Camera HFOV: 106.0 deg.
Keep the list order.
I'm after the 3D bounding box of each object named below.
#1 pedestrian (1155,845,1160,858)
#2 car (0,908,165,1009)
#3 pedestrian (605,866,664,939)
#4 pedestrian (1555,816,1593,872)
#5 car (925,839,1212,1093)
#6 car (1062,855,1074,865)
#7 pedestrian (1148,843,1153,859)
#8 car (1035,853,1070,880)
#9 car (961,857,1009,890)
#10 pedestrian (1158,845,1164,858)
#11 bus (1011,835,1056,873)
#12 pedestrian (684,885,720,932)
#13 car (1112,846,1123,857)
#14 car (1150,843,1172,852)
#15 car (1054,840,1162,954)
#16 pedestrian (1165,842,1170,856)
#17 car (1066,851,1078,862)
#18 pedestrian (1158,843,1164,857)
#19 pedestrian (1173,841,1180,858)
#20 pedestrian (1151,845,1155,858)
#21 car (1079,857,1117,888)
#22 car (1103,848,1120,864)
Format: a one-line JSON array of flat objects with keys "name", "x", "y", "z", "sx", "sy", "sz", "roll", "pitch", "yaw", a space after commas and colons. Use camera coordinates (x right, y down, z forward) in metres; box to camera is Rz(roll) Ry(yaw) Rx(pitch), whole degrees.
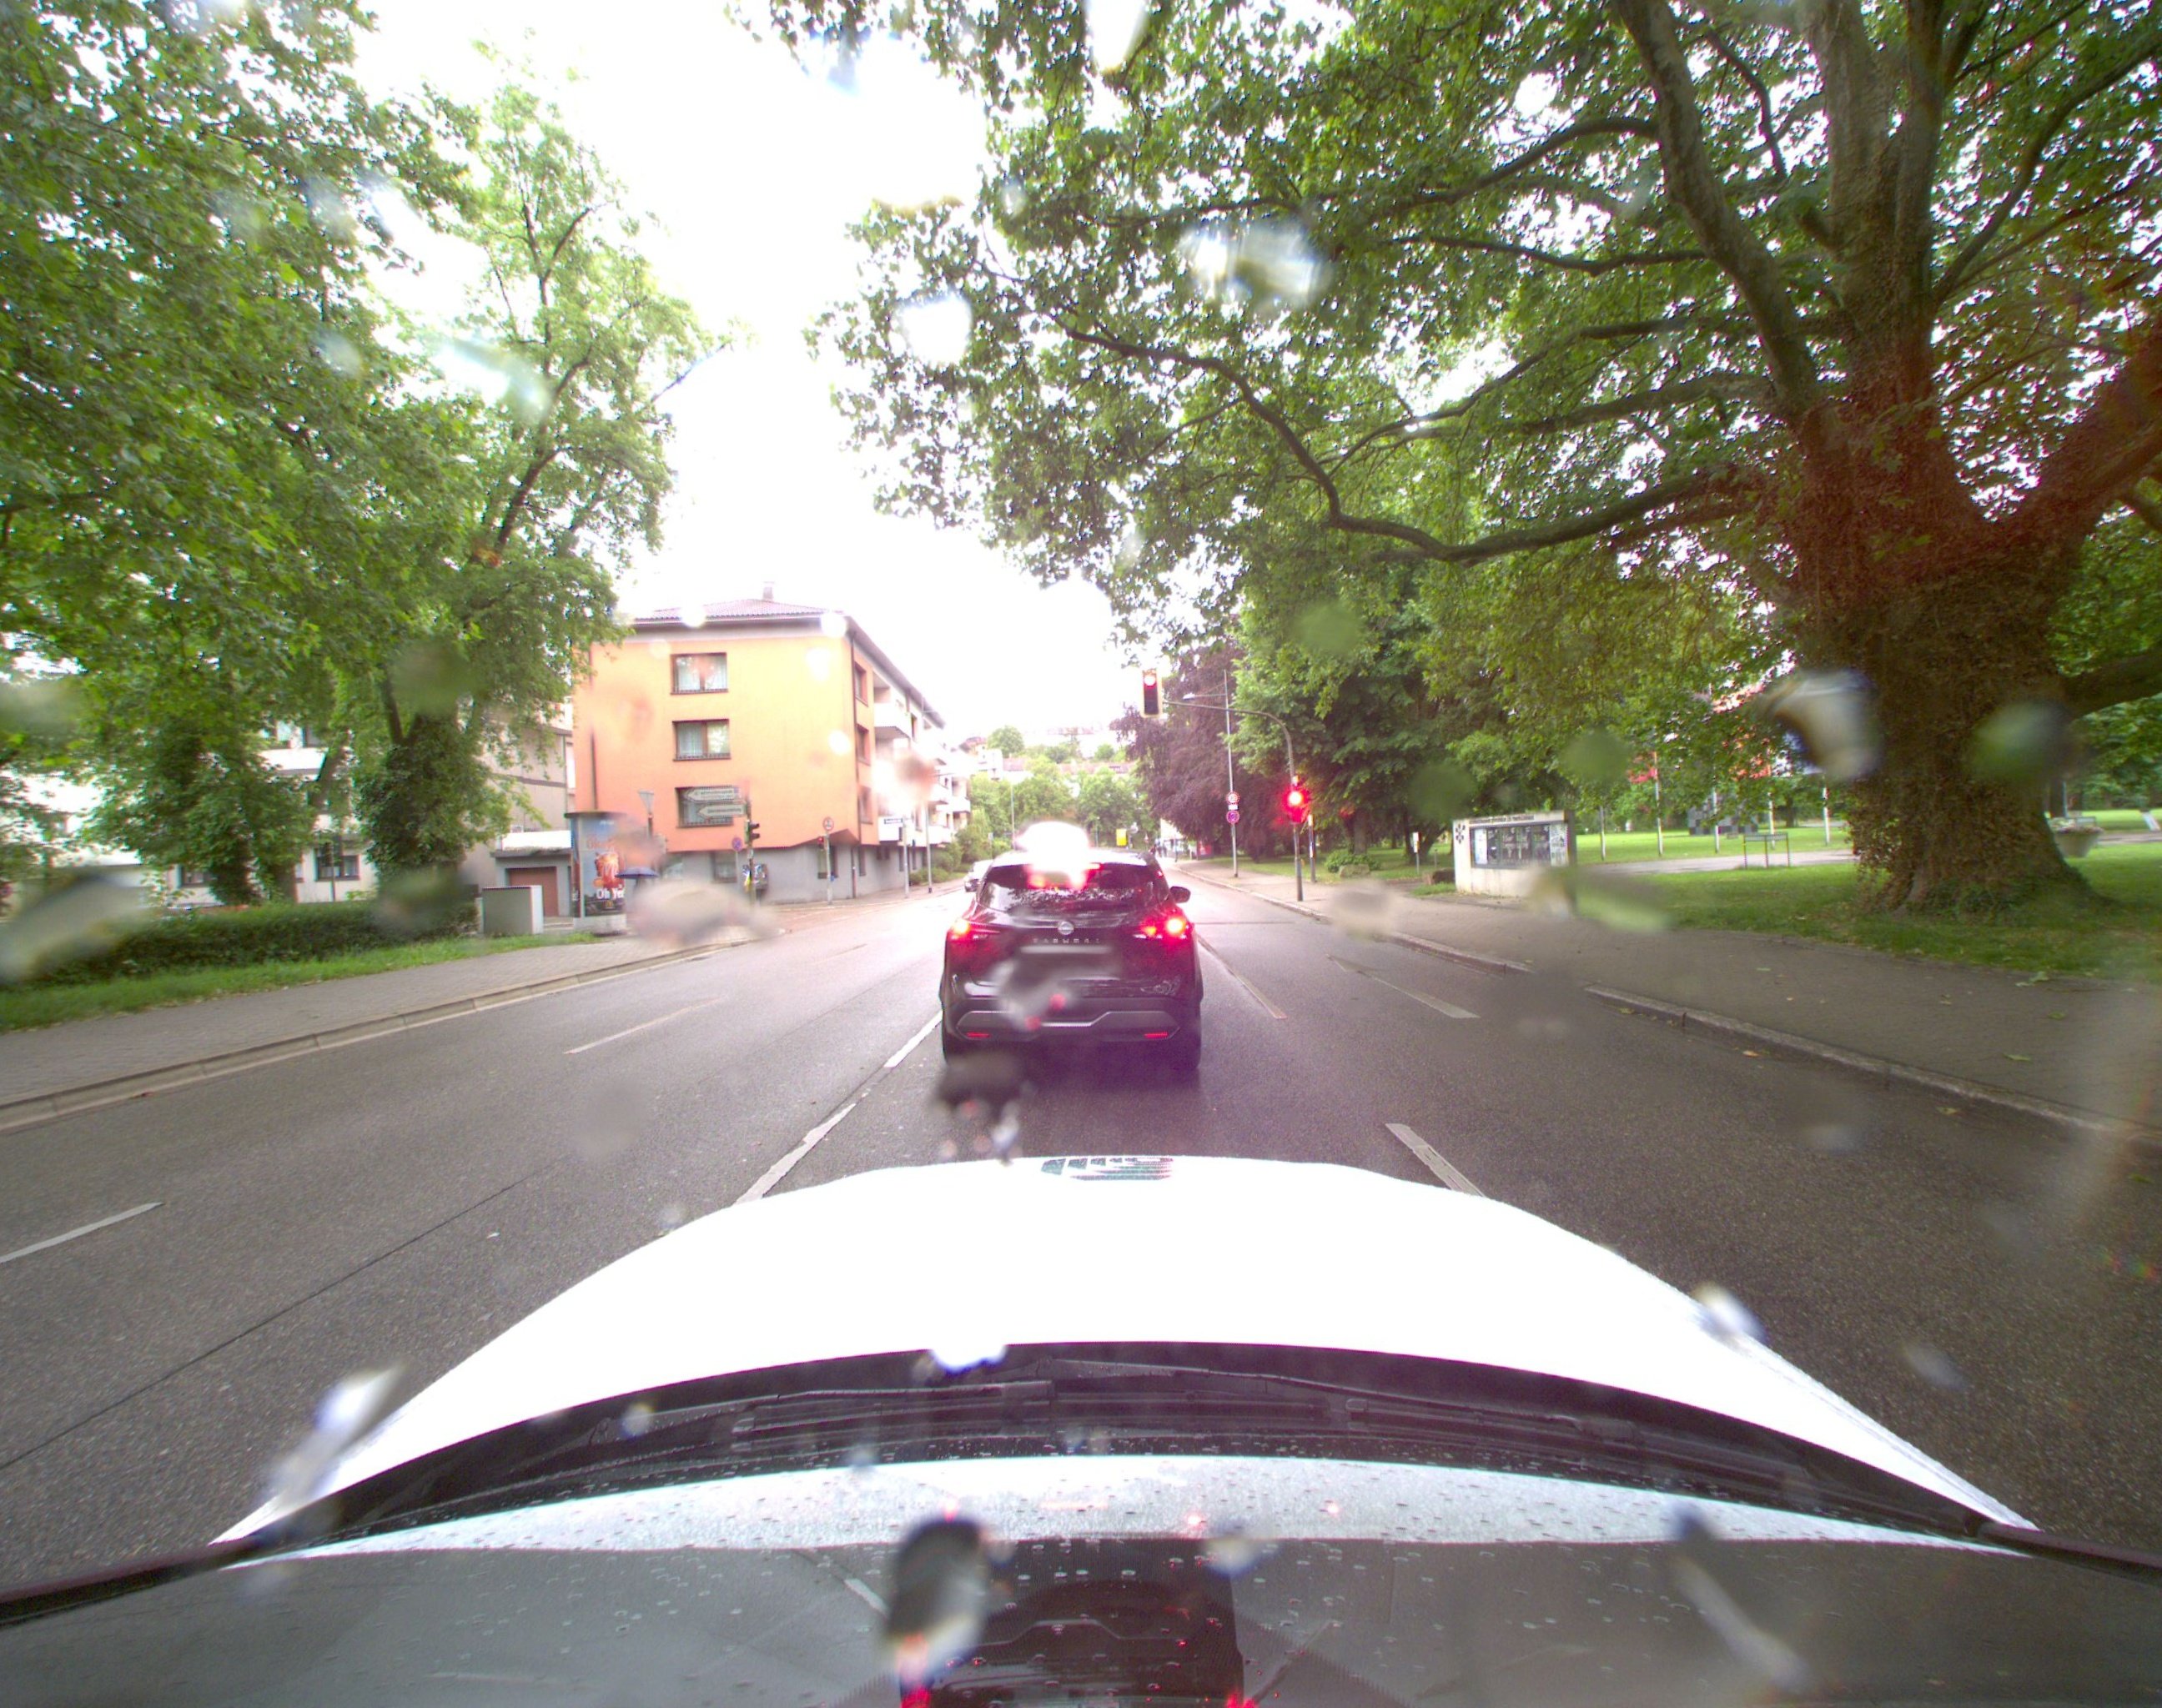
[{"name": "pedestrian", "x": 9.654, "y": -0.339, "z": 102.511, "sx": 0.513, "sy": 1.655, "sz": 0.550, "roll": 0, "pitch": -1, "yaw": 1}, {"name": "car", "x": -18.005, "y": 1.735, "z": 13.804, "sx": 3.182, "sy": 1.524, "sz": 1.507, "roll": 0, "pitch": -1, "yaw": -1}, {"name": "pedestrian", "x": -11.207, "y": 1.183, "z": 20.489, "sx": 0.993, "sy": 1.742, "sz": 1.204, "roll": -1, "pitch": 0, "yaw": -13}, {"name": "pedestrian", "x": 15.205, "y": -0.309, "z": 25.127, "sx": 0.663, "sy": 1.712, "sz": 0.788, "roll": 0, "pitch": -1, "yaw": -7}, {"name": "car", "x": -0.019, "y": 0.722, "z": 7.127, "sx": 1.799, "sy": 1.590, "sz": 4.001, "roll": 0, "pitch": -1, "yaw": 2}, {"name": "car", "x": -2.021, "y": 0.921, "z": 126.822, "sx": 1.671, "sy": 1.469, "sz": 4.217, "roll": -4, "pitch": 0, "yaw": 1}, {"name": "pedestrian", "x": 9.796, "y": -0.460, "z": 114.627, "sx": 0.764, "sy": 2.183, "sz": 0.712, "roll": 0, "pitch": -1, "yaw": 5}, {"name": "car", "x": -1.591, "y": 0.681, "z": 46.557, "sx": 1.618, "sy": 1.415, "sz": 3.456, "roll": -3, "pitch": 0, "yaw": 2}, {"name": "car", "x": -4.785, "y": 0.966, "z": 41.193, "sx": 1.802, "sy": 1.417, "sz": 4.031, "roll": -4, "pitch": 0, "yaw": 1}, {"name": "pedestrian", "x": 10.184, "y": -0.332, "z": 104.042, "sx": 0.696, "sy": 1.651, "sz": 0.628, "roll": 0, "pitch": -1, "yaw": 2}, {"name": "bus", "x": -4.027, "y": -0.001, "z": 71.416, "sx": 2.756, "sy": 2.974, "sz": 11.786, "roll": -3, "pitch": 0, "yaw": 2}, {"name": "pedestrian", "x": -10.159, "y": 1.452, "z": 21.860, "sx": 0.685, "sy": 1.175, "sz": 0.823, "roll": -1, "pitch": 0, "yaw": -12}, {"name": "car", "x": 6.171, "y": -0.437, "z": 136.427, "sx": 1.743, "sy": 1.633, "sz": 3.636, "roll": -3, "pitch": 0, "yaw": 2}, {"name": "car", "x": 16.198, "y": -1.332, "z": 164.017, "sx": 3.986, "sy": 1.684, "sz": 1.994, "roll": -3, "pitch": 0, "yaw": -9}, {"name": "car", "x": 0.543, "y": 0.675, "z": 14.774, "sx": 1.615, "sy": 1.709, "sz": 3.774, "roll": -3, "pitch": 0, "yaw": 3}, {"name": "pedestrian", "x": 11.465, "y": -0.642, "z": 107.807, "sx": 0.616, "sy": 1.779, "sz": 0.551, "roll": -3, "pitch": 0, "yaw": 1}, {"name": "car", "x": -1.431, "y": 0.423, "z": 137.514, "sx": 1.743, "sy": 1.633, "sz": 3.636, "roll": -3, "pitch": 0, "yaw": 2}, {"name": "pedestrian", "x": 10.601, "y": -0.568, "z": 107.544, "sx": 0.616, "sy": 1.779, "sz": 0.551, "roll": -3, "pitch": 0, "yaw": 1}, {"name": "pedestrian", "x": 10.547, "y": -0.505, "z": 89.609, "sx": 0.616, "sy": 1.779, "sz": 0.779, "roll": -3, "pitch": 0, "yaw": 1}, {"name": "pedestrian", "x": 9.199, "y": -0.299, "z": 103.774, "sx": 0.542, "sy": 1.651, "sz": 0.490, "roll": 0, "pitch": -1, "yaw": 2}, {"name": "car", "x": 0.861, "y": 0.916, "z": 41.213, "sx": 1.802, "sy": 1.417, "sz": 4.031, "roll": -2, "pitch": 0, "yaw": 1}, {"name": "car", "x": 3.164, "y": 0.193, "z": 83.269, "sx": 1.618, "sy": 1.415, "sz": 3.456, "roll": -3, "pitch": 0, "yaw": 2}]
